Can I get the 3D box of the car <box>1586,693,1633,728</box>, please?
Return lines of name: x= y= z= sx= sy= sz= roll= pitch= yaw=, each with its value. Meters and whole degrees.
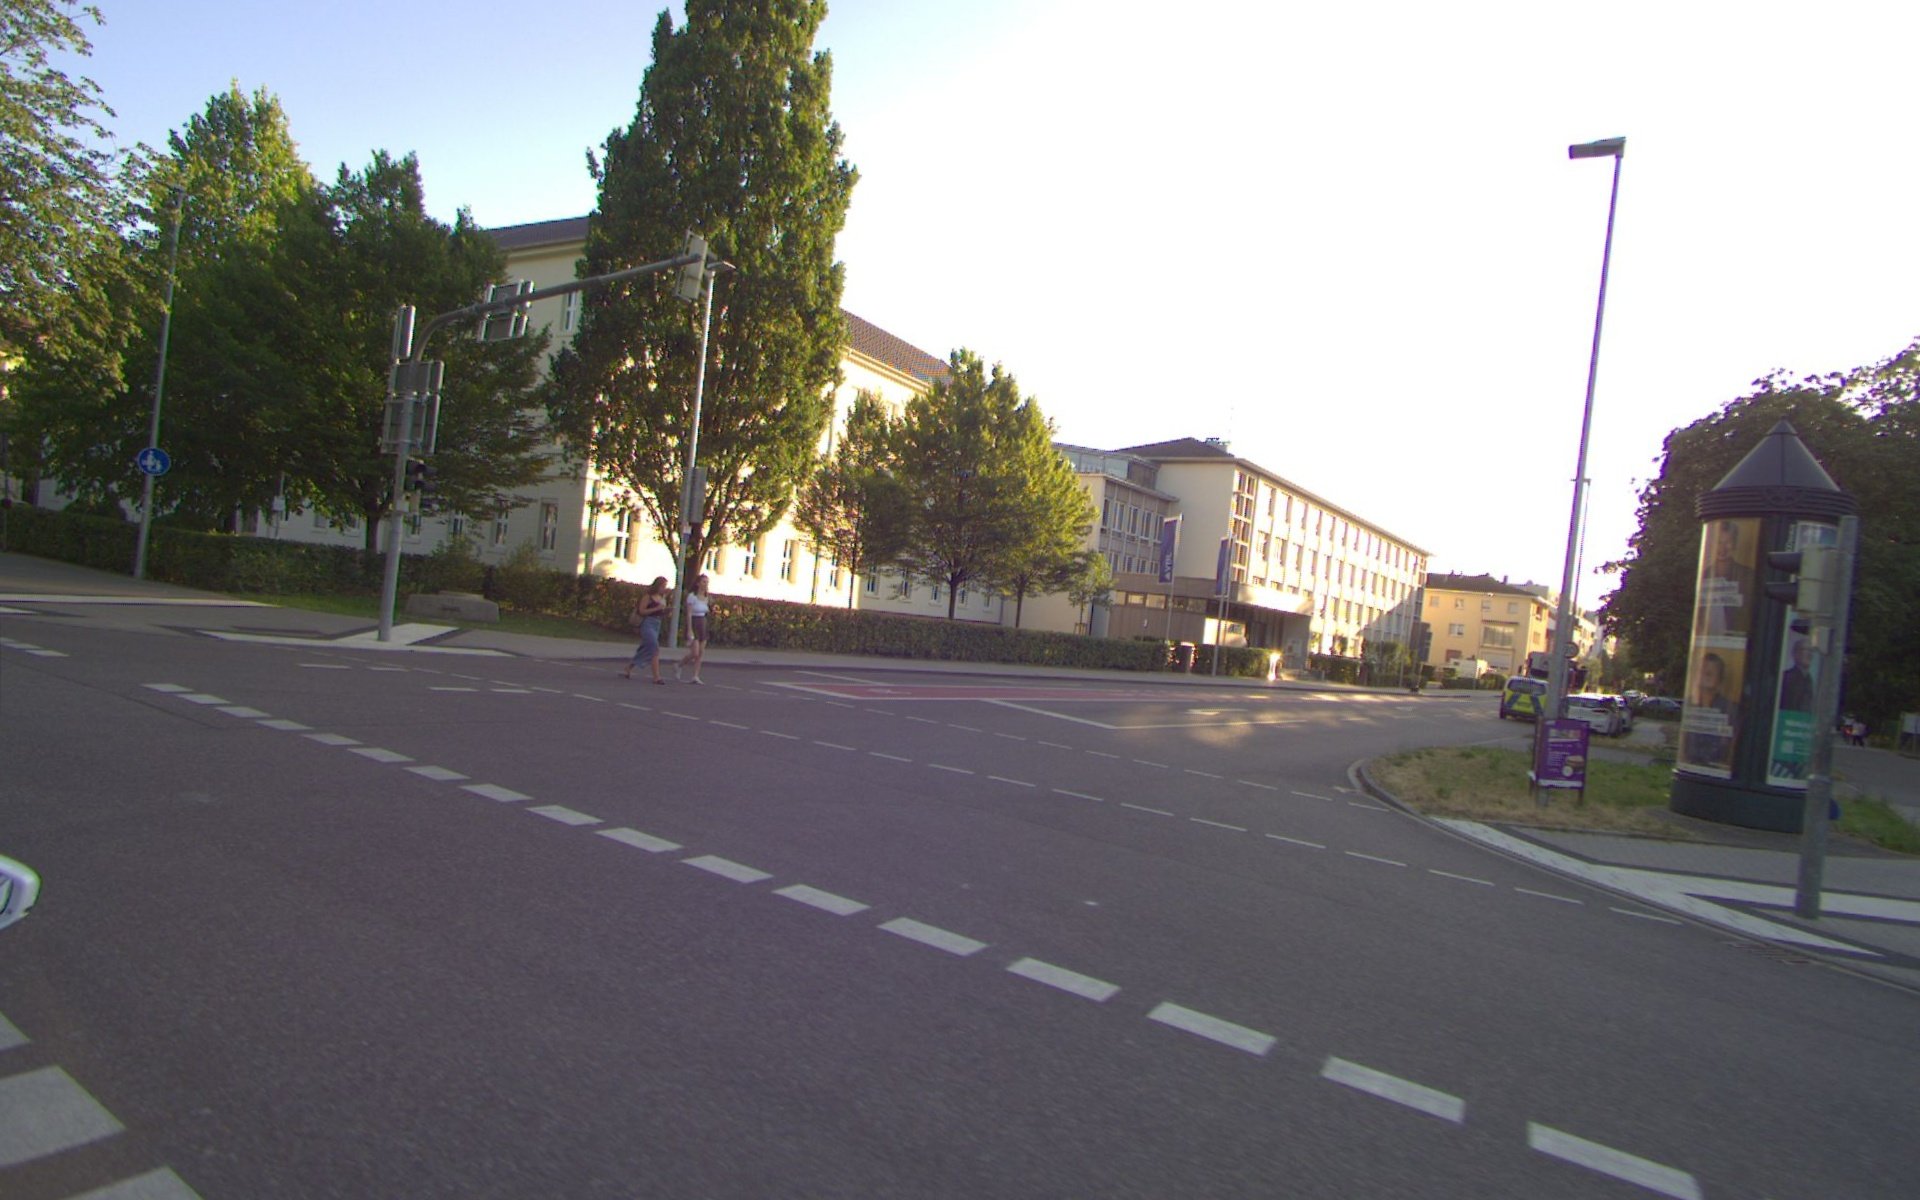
car: x=37.002 y=6.238 z=57.270 sx=1.969 sy=1.659 sz=3.988 roll=6 pitch=-1 yaw=35

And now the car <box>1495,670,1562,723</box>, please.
car: x=25.094 y=4.274 z=44.352 sx=2.024 sy=1.883 sz=4.488 roll=6 pitch=-3 yaw=35

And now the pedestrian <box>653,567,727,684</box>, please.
pedestrian: x=-4.316 y=0.422 z=16.106 sx=0.677 sy=1.776 sz=0.681 roll=7 pitch=1 yaw=31

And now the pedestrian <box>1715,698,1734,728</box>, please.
pedestrian: x=44.618 y=6.611 z=58.697 sx=0.679 sy=1.642 sz=0.679 roll=7 pitch=1 yaw=44

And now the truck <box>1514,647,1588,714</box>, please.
truck: x=33.276 y=4.587 z=56.450 sx=2.600 sy=3.178 sz=10.246 roll=6 pitch=-1 yaw=35

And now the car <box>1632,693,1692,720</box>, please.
car: x=56.014 y=8.531 z=80.316 sx=3.749 sy=1.801 sz=1.931 roll=2 pitch=-5 yaw=31

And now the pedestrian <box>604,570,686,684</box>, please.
pedestrian: x=-4.861 y=0.416 z=15.536 sx=0.831 sy=1.642 sz=0.681 roll=7 pitch=1 yaw=32

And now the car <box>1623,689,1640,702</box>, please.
car: x=123.209 y=17.498 z=184.534 sx=1.972 sy=2.038 sz=3.981 roll=6 pitch=0 yaw=41

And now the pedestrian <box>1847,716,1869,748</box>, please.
pedestrian: x=48.690 y=7.138 z=54.525 sx=0.672 sy=1.642 sz=0.686 roll=7 pitch=1 yaw=36

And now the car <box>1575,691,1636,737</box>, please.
car: x=28.393 y=4.956 z=44.222 sx=1.969 sy=1.659 sz=3.988 roll=6 pitch=-1 yaw=35

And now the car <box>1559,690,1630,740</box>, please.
car: x=25.442 y=4.557 z=40.275 sx=1.970 sy=1.631 sz=3.986 roll=6 pitch=-1 yaw=37

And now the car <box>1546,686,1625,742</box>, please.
car: x=22.795 y=4.127 z=36.603 sx=1.873 sy=1.660 sz=3.985 roll=6 pitch=-1 yaw=38

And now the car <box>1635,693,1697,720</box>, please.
car: x=54.699 y=8.248 z=77.983 sx=3.749 sy=1.801 sz=1.931 roll=2 pitch=-5 yaw=31
